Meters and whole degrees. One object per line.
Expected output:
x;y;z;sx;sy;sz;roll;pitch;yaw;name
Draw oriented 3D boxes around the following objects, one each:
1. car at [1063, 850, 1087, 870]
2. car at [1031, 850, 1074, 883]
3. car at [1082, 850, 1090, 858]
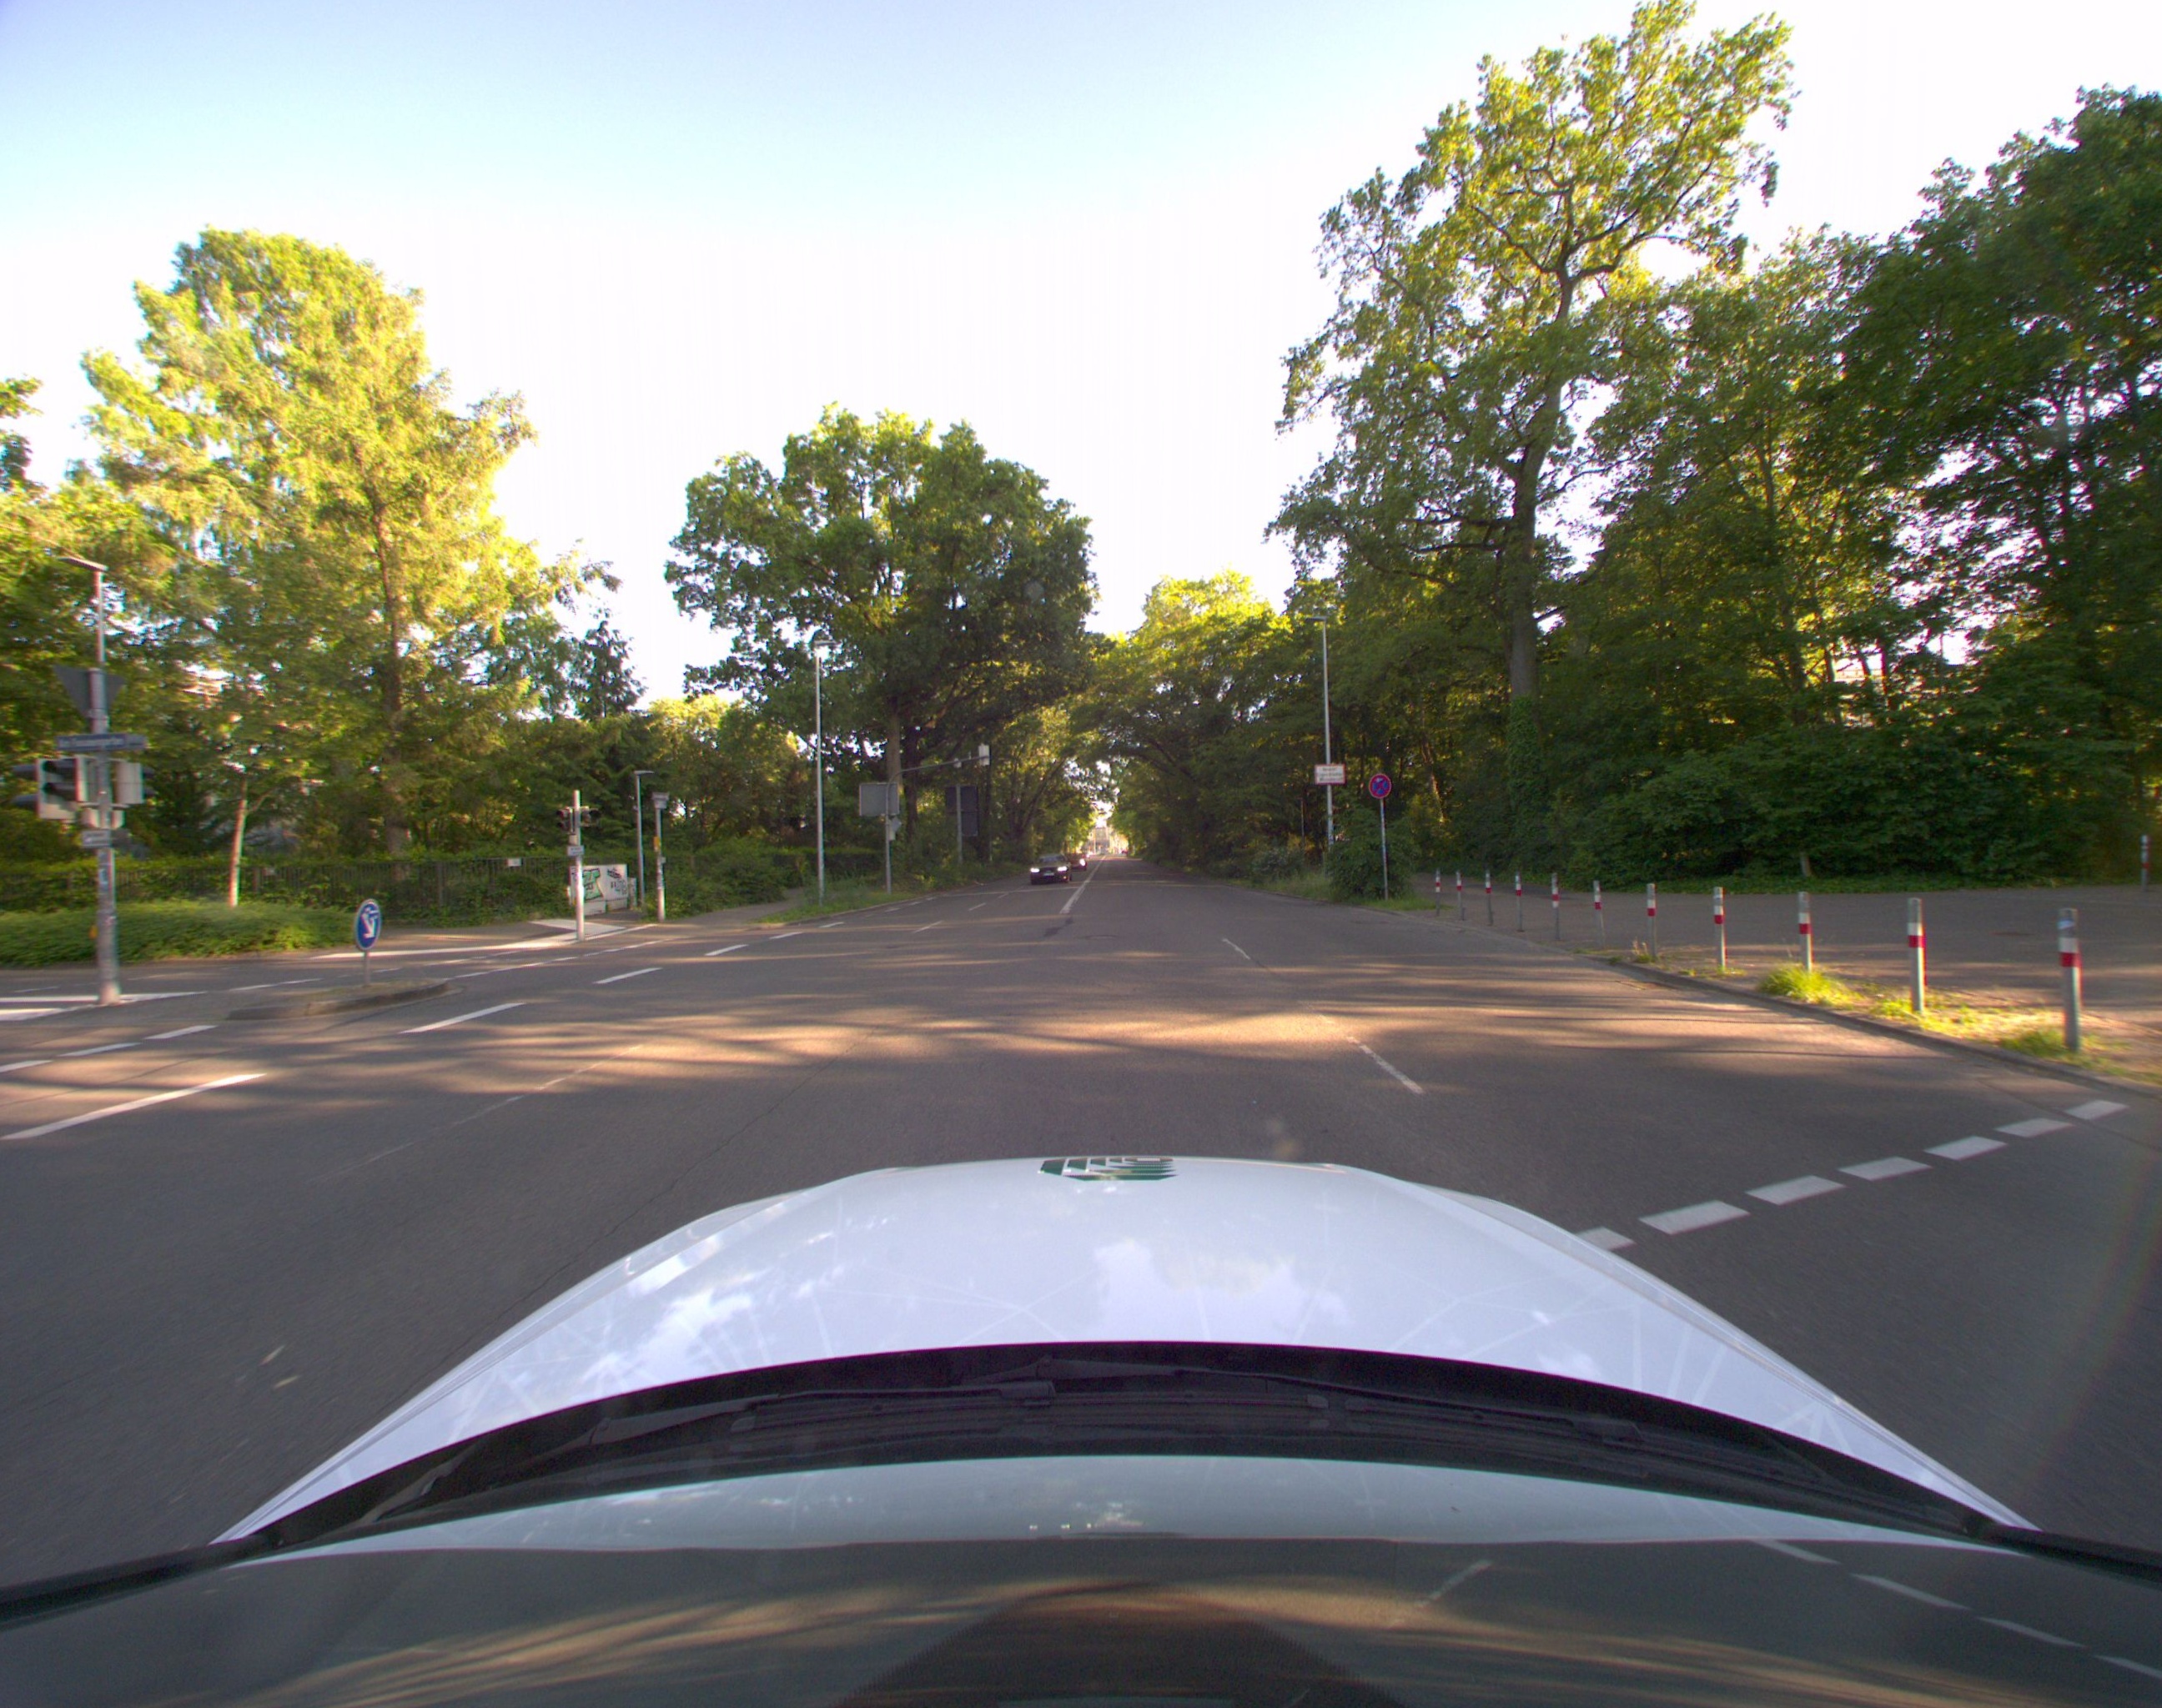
-0.424;0.503;66.190;1.791;1.506;4.365;-2;0;1;car
-1.409;0.611;41.666;1.881;1.506;4.365;-2;0;1;car
1.134;-0.002;183.955;1.791;1.506;4.365;-2;0;1;car
